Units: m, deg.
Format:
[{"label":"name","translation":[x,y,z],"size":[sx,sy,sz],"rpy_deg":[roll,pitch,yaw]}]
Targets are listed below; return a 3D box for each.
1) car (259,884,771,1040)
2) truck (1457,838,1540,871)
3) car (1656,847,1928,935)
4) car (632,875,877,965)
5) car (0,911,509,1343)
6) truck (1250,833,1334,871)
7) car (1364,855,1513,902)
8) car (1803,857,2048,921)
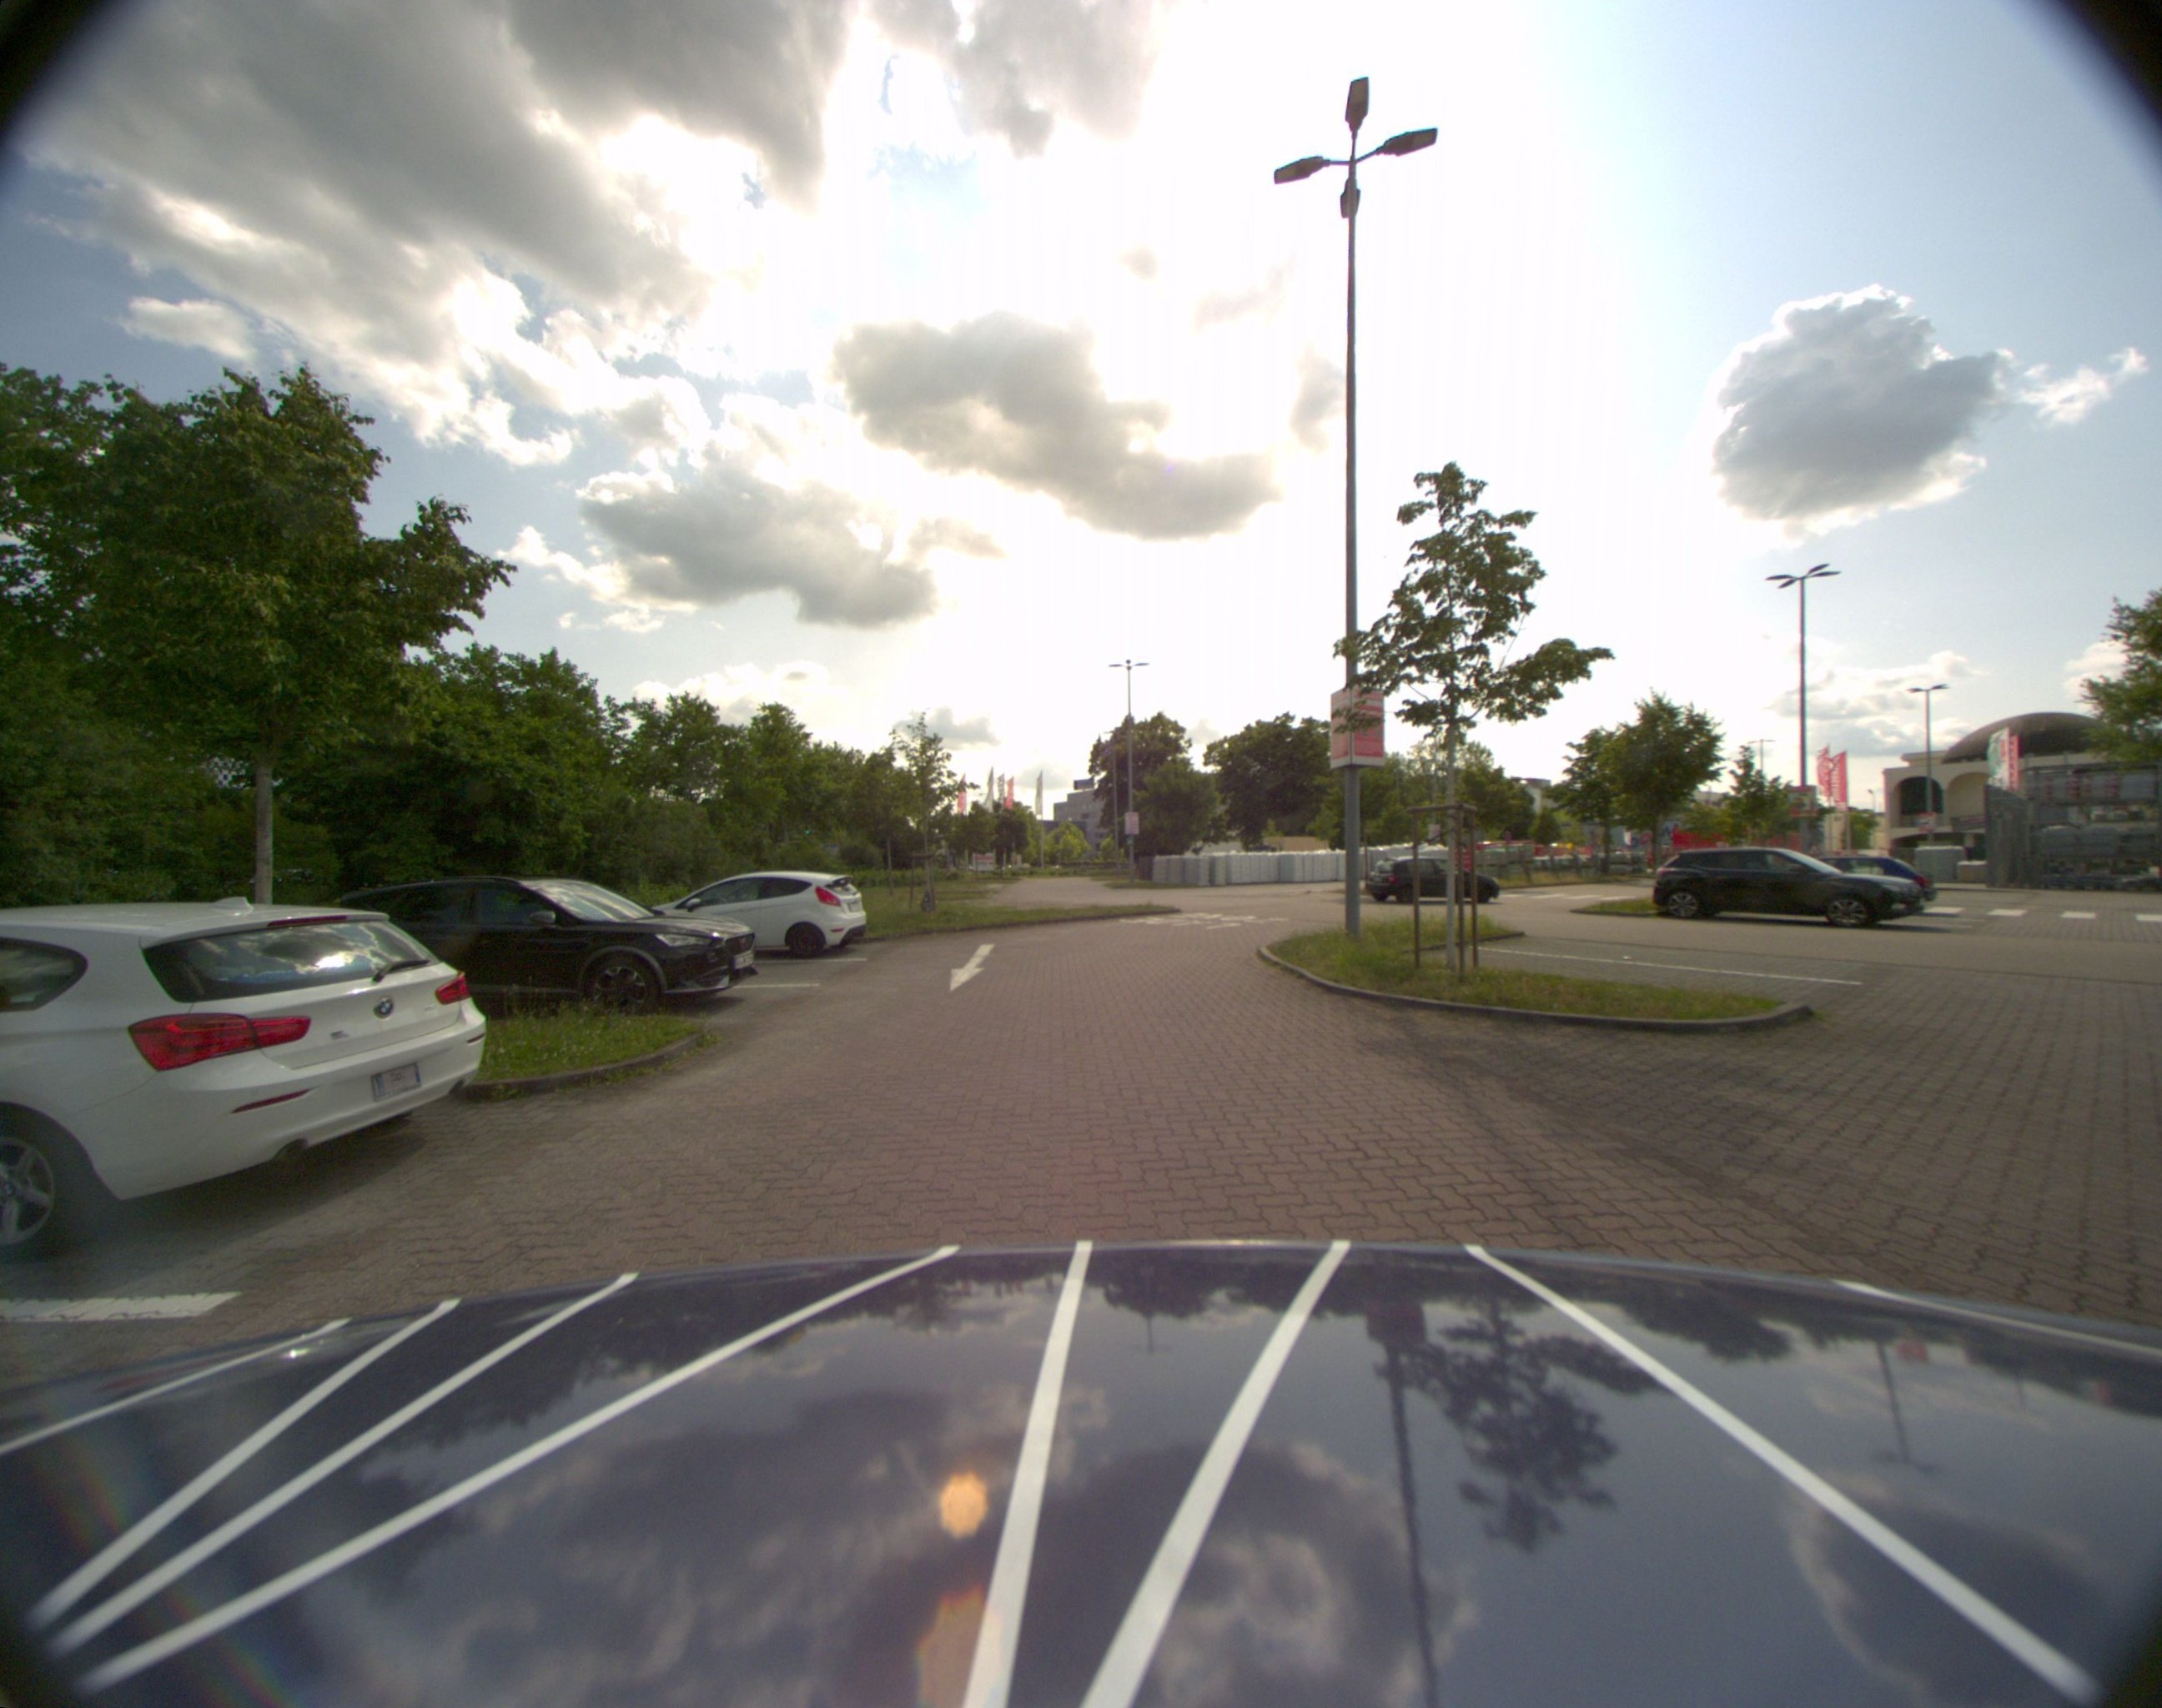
[{"label":"car","translation":[-5.893,1.087,8.335],"size":[4.240,1.402,1.733],"rpy_deg":[-1,0,-2]},{"label":"truck","translation":[33.439,0.046,60.947],"size":[2.121,2.500,5.430],"rpy_deg":[0,0,-39]},{"label":"car","translation":[14.932,0.689,16.172],"size":[1.739,1.615,3.953],"rpy_deg":[-1,0,-34]},{"label":"car","translation":[-5.602,1.117,13.322],"size":[3.554,1.403,1.670],"rpy_deg":[-1,0,3]},{"label":"car","translation":[-5.521,1.129,3.747],"size":[4.078,1.501,1.690],"rpy_deg":[-1,1,0]},{"label":"truck","translation":[20.658,-0.187,74.172],"size":[9.053,3.577,2.723],"rpy_deg":[0,0,-35]},{"label":"car","translation":[10.760,0.713,23.016],"size":[3.785,1.313,1.611],"rpy_deg":[-1,0,-2]},{"label":"car","translation":[19.918,0.750,18.073],"size":[1.624,1.360,3.753],"rpy_deg":[0,0,-36]}]
